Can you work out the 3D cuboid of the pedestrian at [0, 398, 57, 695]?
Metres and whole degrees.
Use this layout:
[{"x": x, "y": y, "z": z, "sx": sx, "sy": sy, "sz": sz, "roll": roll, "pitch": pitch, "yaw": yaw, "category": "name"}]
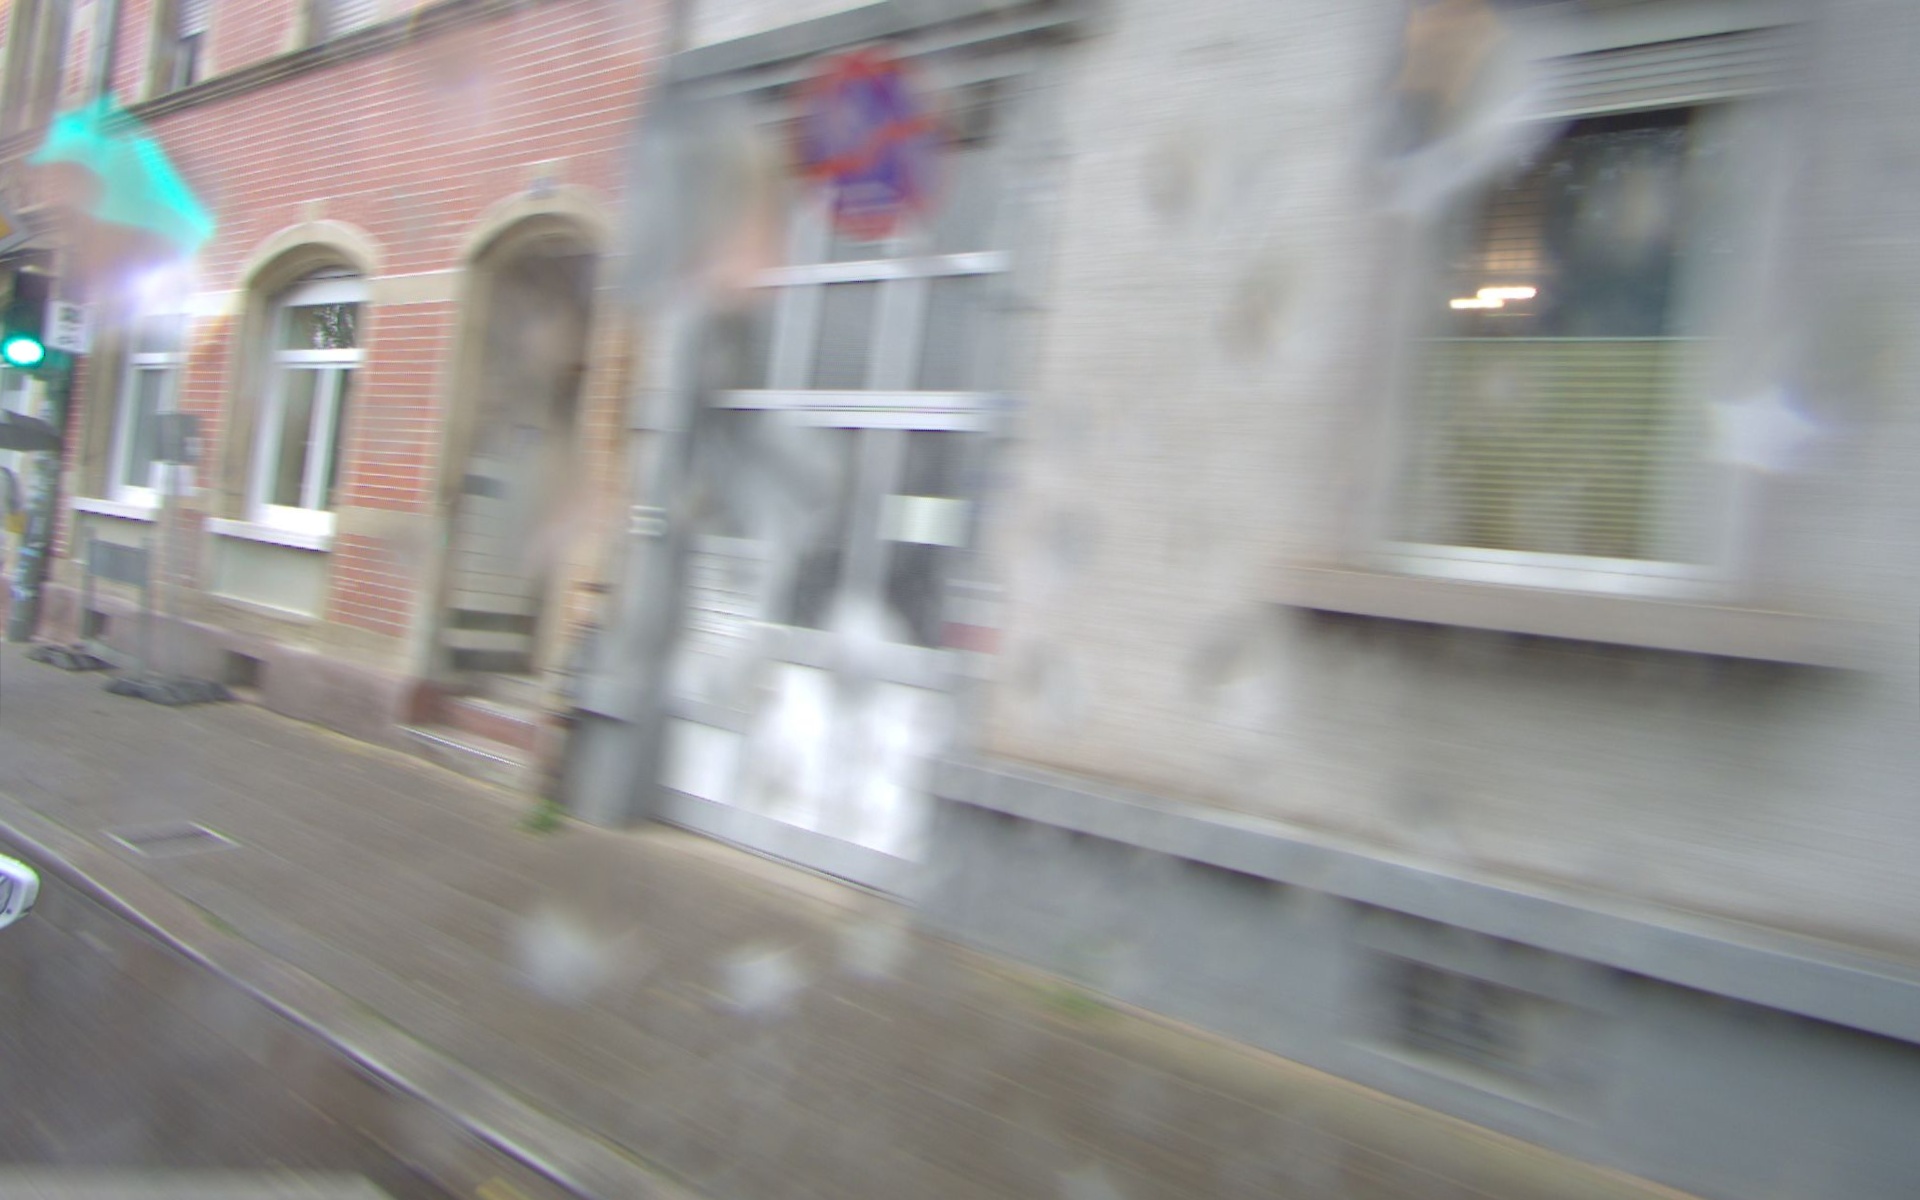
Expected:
[{"x": -6.725, "y": -0.393, "z": 6.675, "sx": 0.914, "sy": 1.939, "sz": 0.785, "roll": 7, "pitch": 3, "yaw": 30, "category": "pedestrian"}]
